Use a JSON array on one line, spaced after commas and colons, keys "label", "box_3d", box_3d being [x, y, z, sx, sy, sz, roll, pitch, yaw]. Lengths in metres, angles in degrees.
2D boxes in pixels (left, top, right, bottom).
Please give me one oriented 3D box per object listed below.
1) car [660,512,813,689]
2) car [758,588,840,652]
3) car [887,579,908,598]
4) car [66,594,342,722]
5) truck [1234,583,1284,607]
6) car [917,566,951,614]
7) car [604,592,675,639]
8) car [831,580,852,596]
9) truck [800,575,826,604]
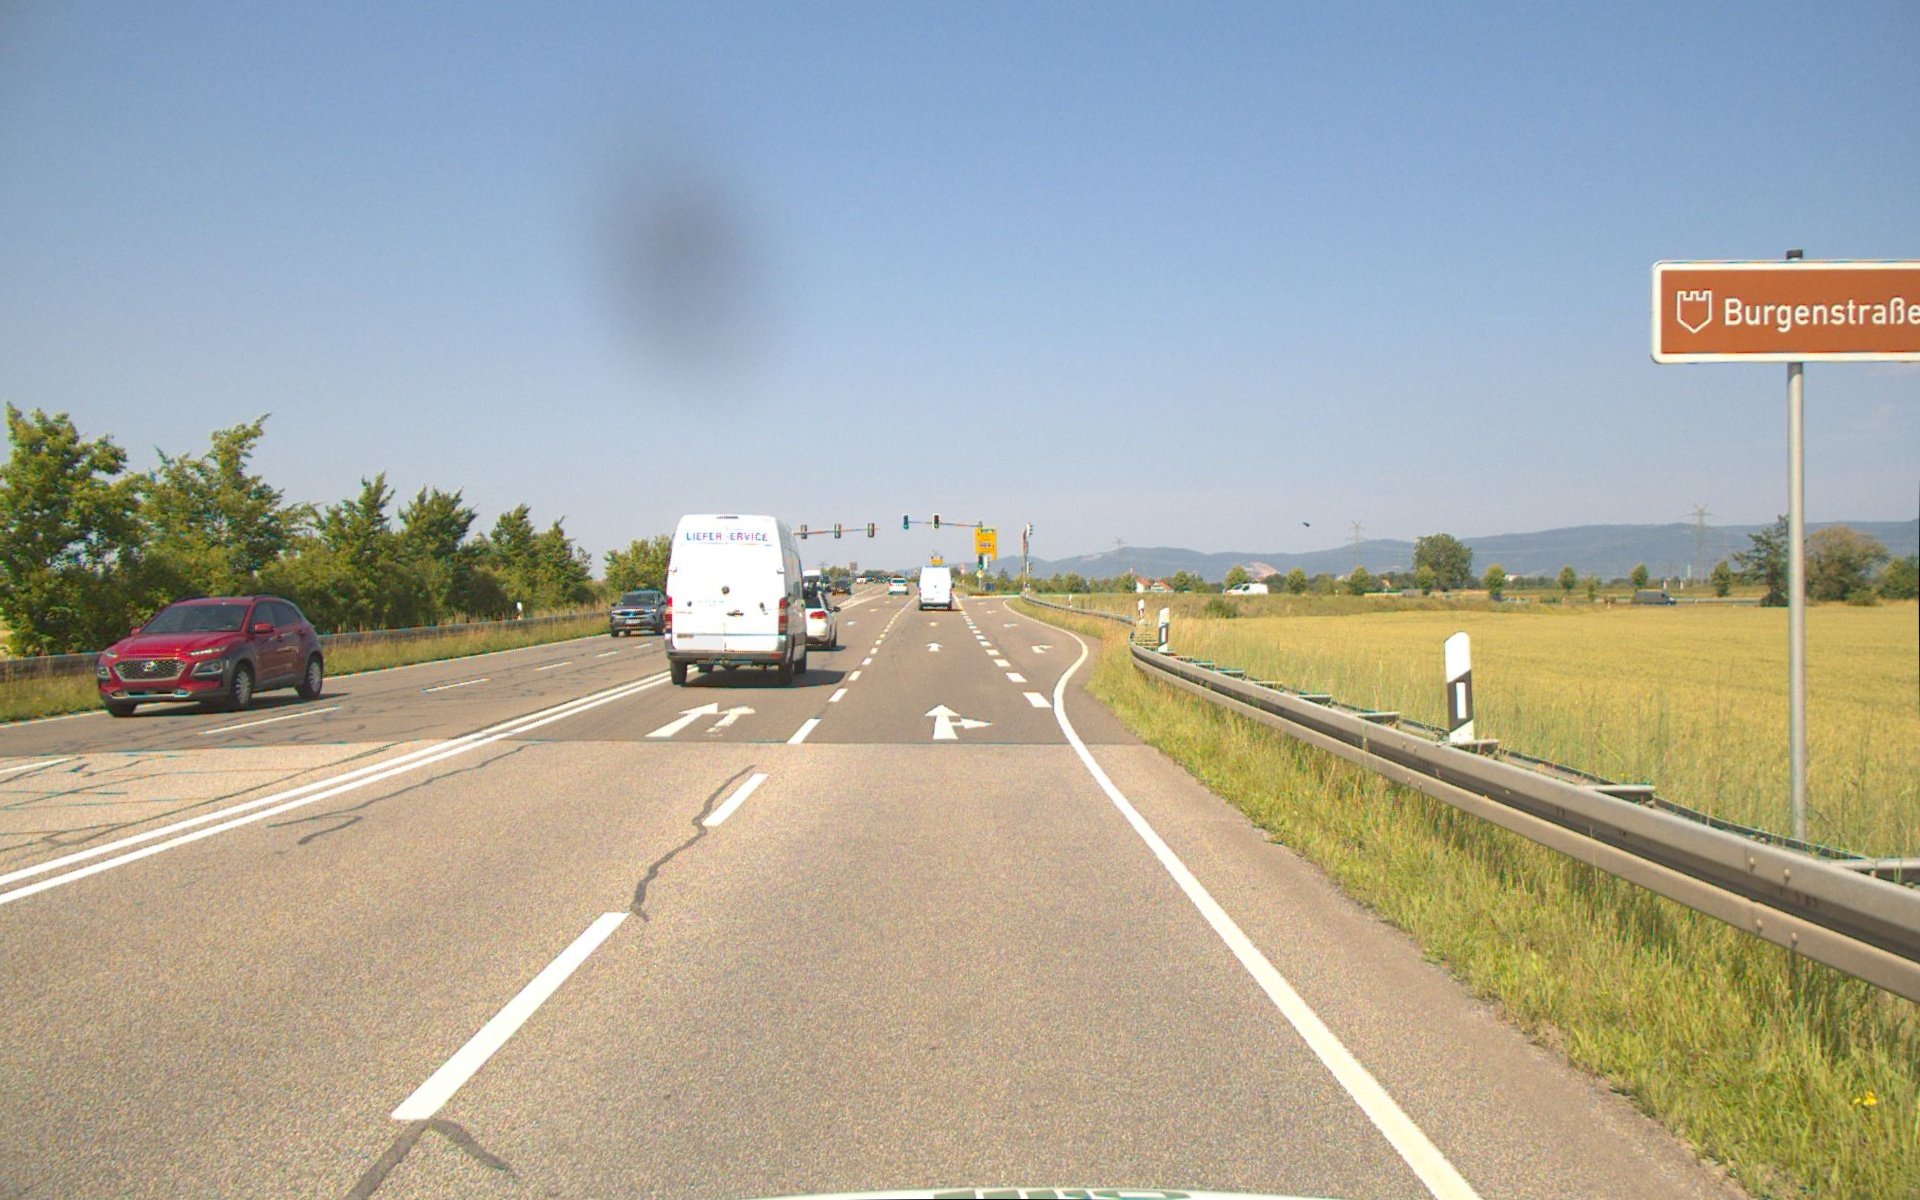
[{"label": "car", "box_3d": [-3.656, 0.032, 28.100, 1.998, 2.666, 5.738, 1, -1, -3]}, {"label": "car", "box_3d": [-4.053, 0.471, 42.145, 1.763, 1.534, 4.195, 0, 1, -1]}, {"label": "car", "box_3d": [-5.955, -1.079, 157.998, 1.953, 1.733, 4.274, 1, -1, -1]}, {"label": "car", "box_3d": [-10.650, 0.747, 23.704, 1.953, 1.589, 4.310, -2, 1, -1]}, {"label": "truck", "box_3d": [31.344, -0.479, 173.573, 4.764, 2.361, 1.992, 1, -1, -16]}, {"label": "car", "box_3d": [-1.523, -0.592, 98.101, 1.953, 2.742, 4.968, 0, 0, -1]}, {"label": "car", "box_3d": [-11.277, 0.524, 58.435, 1.783, 1.534, 4.125, -2, 0, -2]}, {"label": "car", "box_3d": [-11.927, -1.203, 166.206, 1.819, 1.448, 4.000, 1, -1, 0]}, {"label": "truck", "box_3d": [-15.535, -1.066, 174.927, 2.250, 3.009, 5.282, 1, -1, 0]}]
